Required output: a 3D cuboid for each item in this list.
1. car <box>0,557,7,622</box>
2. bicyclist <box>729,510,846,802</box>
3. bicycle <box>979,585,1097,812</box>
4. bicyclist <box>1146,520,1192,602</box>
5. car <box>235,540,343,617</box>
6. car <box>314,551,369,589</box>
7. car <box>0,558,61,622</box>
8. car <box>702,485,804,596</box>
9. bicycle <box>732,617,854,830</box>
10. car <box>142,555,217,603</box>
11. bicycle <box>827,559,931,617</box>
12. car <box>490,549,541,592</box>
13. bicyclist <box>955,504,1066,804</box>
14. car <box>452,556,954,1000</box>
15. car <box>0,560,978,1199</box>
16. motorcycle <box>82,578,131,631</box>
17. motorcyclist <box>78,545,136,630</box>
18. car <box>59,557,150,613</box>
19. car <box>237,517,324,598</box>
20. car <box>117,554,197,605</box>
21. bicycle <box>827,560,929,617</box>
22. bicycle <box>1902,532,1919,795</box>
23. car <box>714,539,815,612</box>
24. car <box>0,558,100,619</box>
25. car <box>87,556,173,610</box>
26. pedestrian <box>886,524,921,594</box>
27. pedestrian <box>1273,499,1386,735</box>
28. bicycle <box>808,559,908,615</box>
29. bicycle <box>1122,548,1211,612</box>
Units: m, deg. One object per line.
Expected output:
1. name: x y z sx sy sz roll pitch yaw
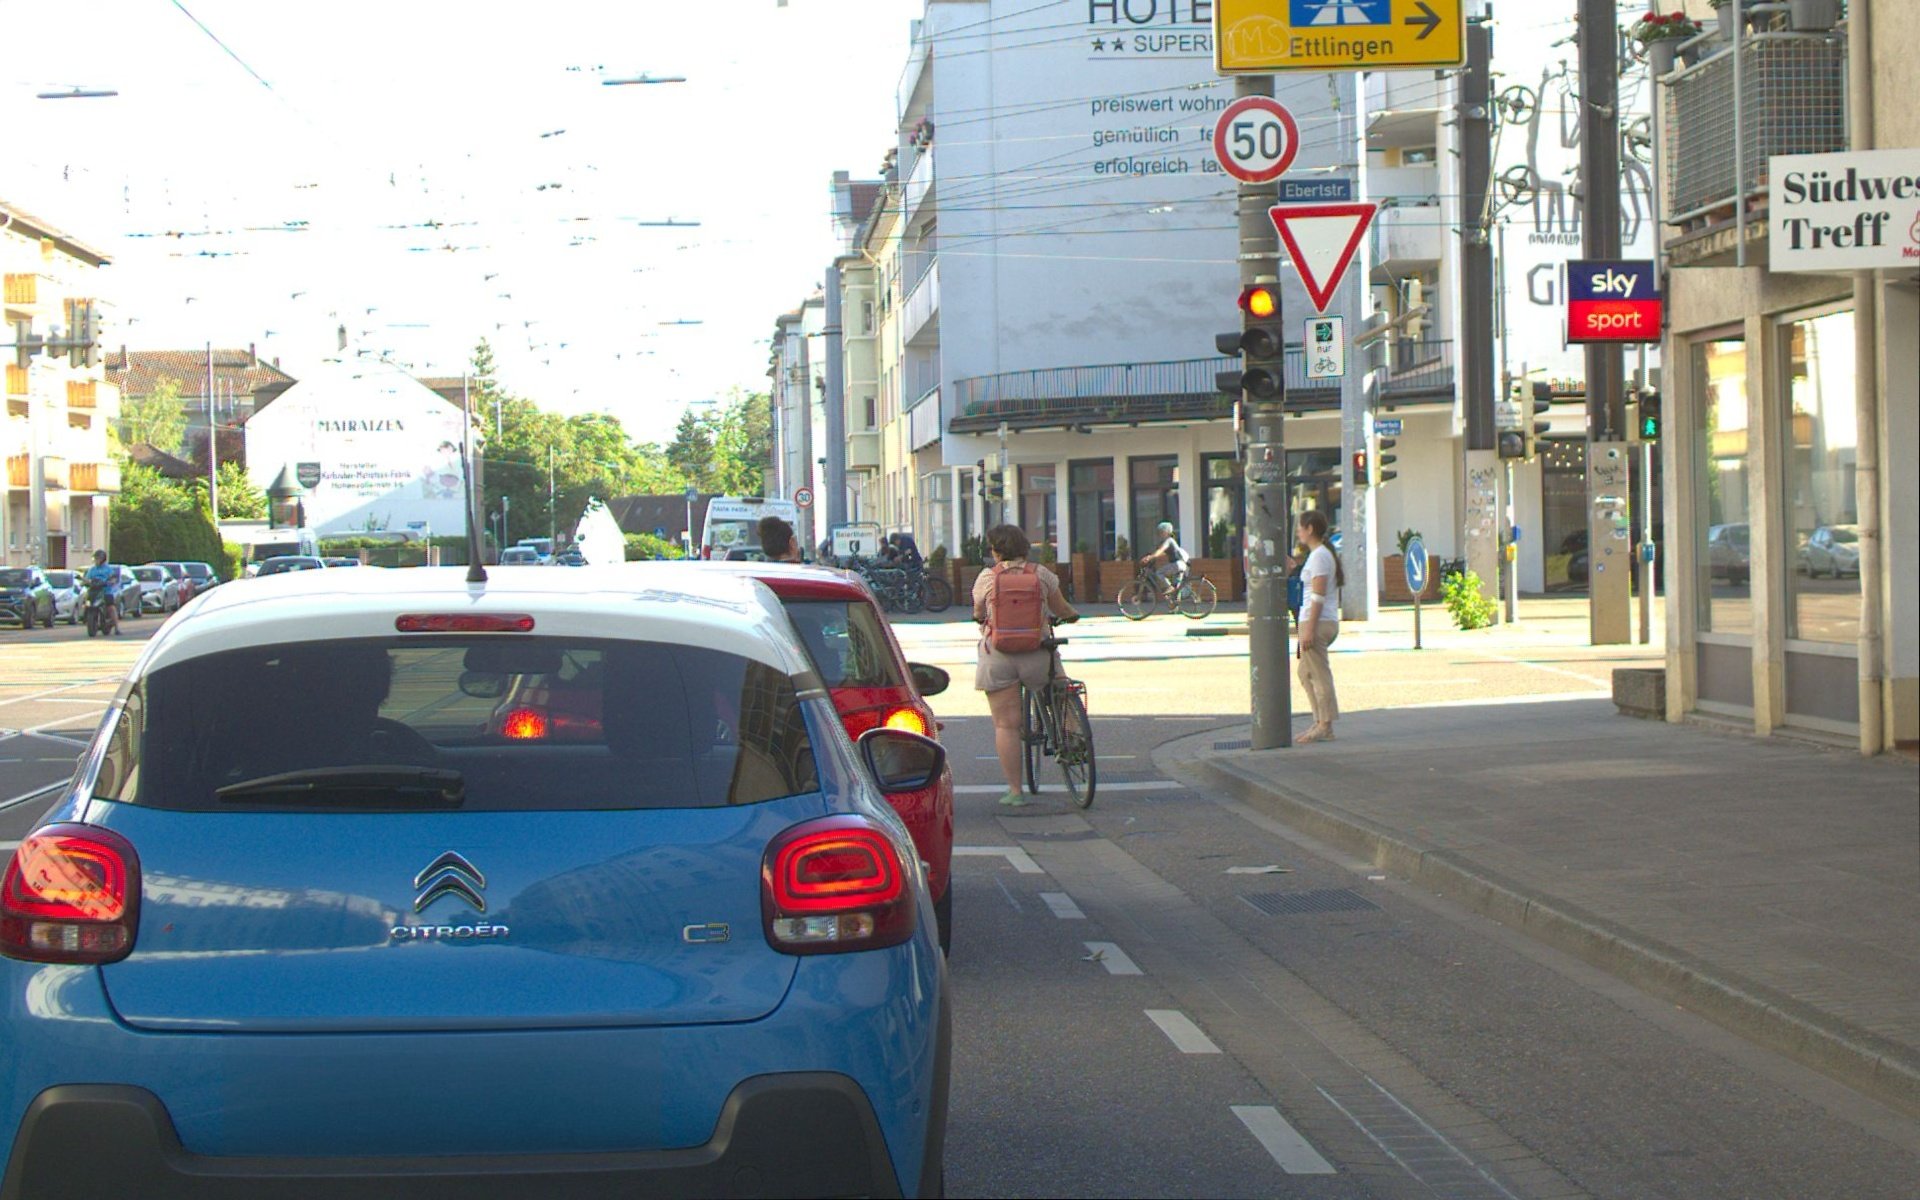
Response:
1. car: -23.321 -0.189 79.216 1.950 1.514 4.001 -1 1 -6
2. bicyclist: -0.991 0.307 19.631 0.616 1.624 0.760 -1 1 -4
3. bicycle: 0.452 0.560 20.635 0.613 1.260 1.911 -1 1 -1
4. bicyclist: 3.691 -0.697 60.782 0.727 1.429 0.605 -1 1 10
5. car: -14.985 -0.505 77.006 2.004 1.622 5.054 -1 1 -7
6. car: -25.980 -1.269 144.560 1.950 1.514 4.001 -1 1 -6
7. car: -23.786 -0.262 85.881 1.950 1.514 4.001 -1 1 -6
8. car: -4.432 -1.272 73.234 2.079 2.262 5.652 0 1 -4
9. bicycle: -0.973 0.680 19.742 0.616 1.099 1.886 -1 1 -5
10. car: -26.071 -0.713 114.990 1.950 1.514 4.001 -1 1 -6
11. bicycle: -1.557 -0.238 65.807 1.904 1.061 0.642 -1 1 -7
12. car: -22.051 -1.486 170.833 2.338 2.032 5.051 -1 1 -6
13. bicyclist: 0.294 0.304 20.593 0.600 1.740 1.084 -1 1 -1
14. car: -1.001 0.577 13.578 1.680 1.457 4.001 0 1 -4
15. car: -0.954 0.668 7.368 1.680 1.457 4.001 0 1 -4
16. motorcycle: -16.693 0.077 67.278 0.751 0.973 2.098 -1 1 -9
17. motorcyclist: -16.674 -0.248 67.205 0.991 1.625 0.739 -1 1 -9
18. car: -24.460 -0.452 98.365 1.950 1.514 4.001 -1 1 -6
19. car: -23.664 -1.495 119.927 2.493 2.703 5.839 -1 1 -7
20. car: -25.361 -0.665 108.648 1.950 1.514 4.001 -1 1 -6
21. bicycle: -1.606 -0.231 67.113 1.904 1.061 0.642 -1 1 -7
22. bicycle: 4.918 0.313 15.746 0.640 1.260 1.911 -1 1 -1
23. car: -3.881 -0.510 67.798 1.786 1.354 3.915 -1 1 -6
24. car: -24.307 -0.330 91.938 1.950 1.514 4.001 -1 1 -6
25. car: -24.927 -0.535 103.369 1.950 1.514 4.001 -1 1 -6
26. pedestrian: -1.152 -0.840 70.251 0.525 1.415 0.546 -1 1 20
27. pedestrian: 2.605 0.110 24.303 0.751 1.629 0.740 -1 1 6
28. bicycle: -2.025 -0.269 68.306 1.904 1.061 0.642 -1 1 -7
29. bicycle: 3.654 -0.350 60.795 1.489 1.087 0.605 -1 1 10
